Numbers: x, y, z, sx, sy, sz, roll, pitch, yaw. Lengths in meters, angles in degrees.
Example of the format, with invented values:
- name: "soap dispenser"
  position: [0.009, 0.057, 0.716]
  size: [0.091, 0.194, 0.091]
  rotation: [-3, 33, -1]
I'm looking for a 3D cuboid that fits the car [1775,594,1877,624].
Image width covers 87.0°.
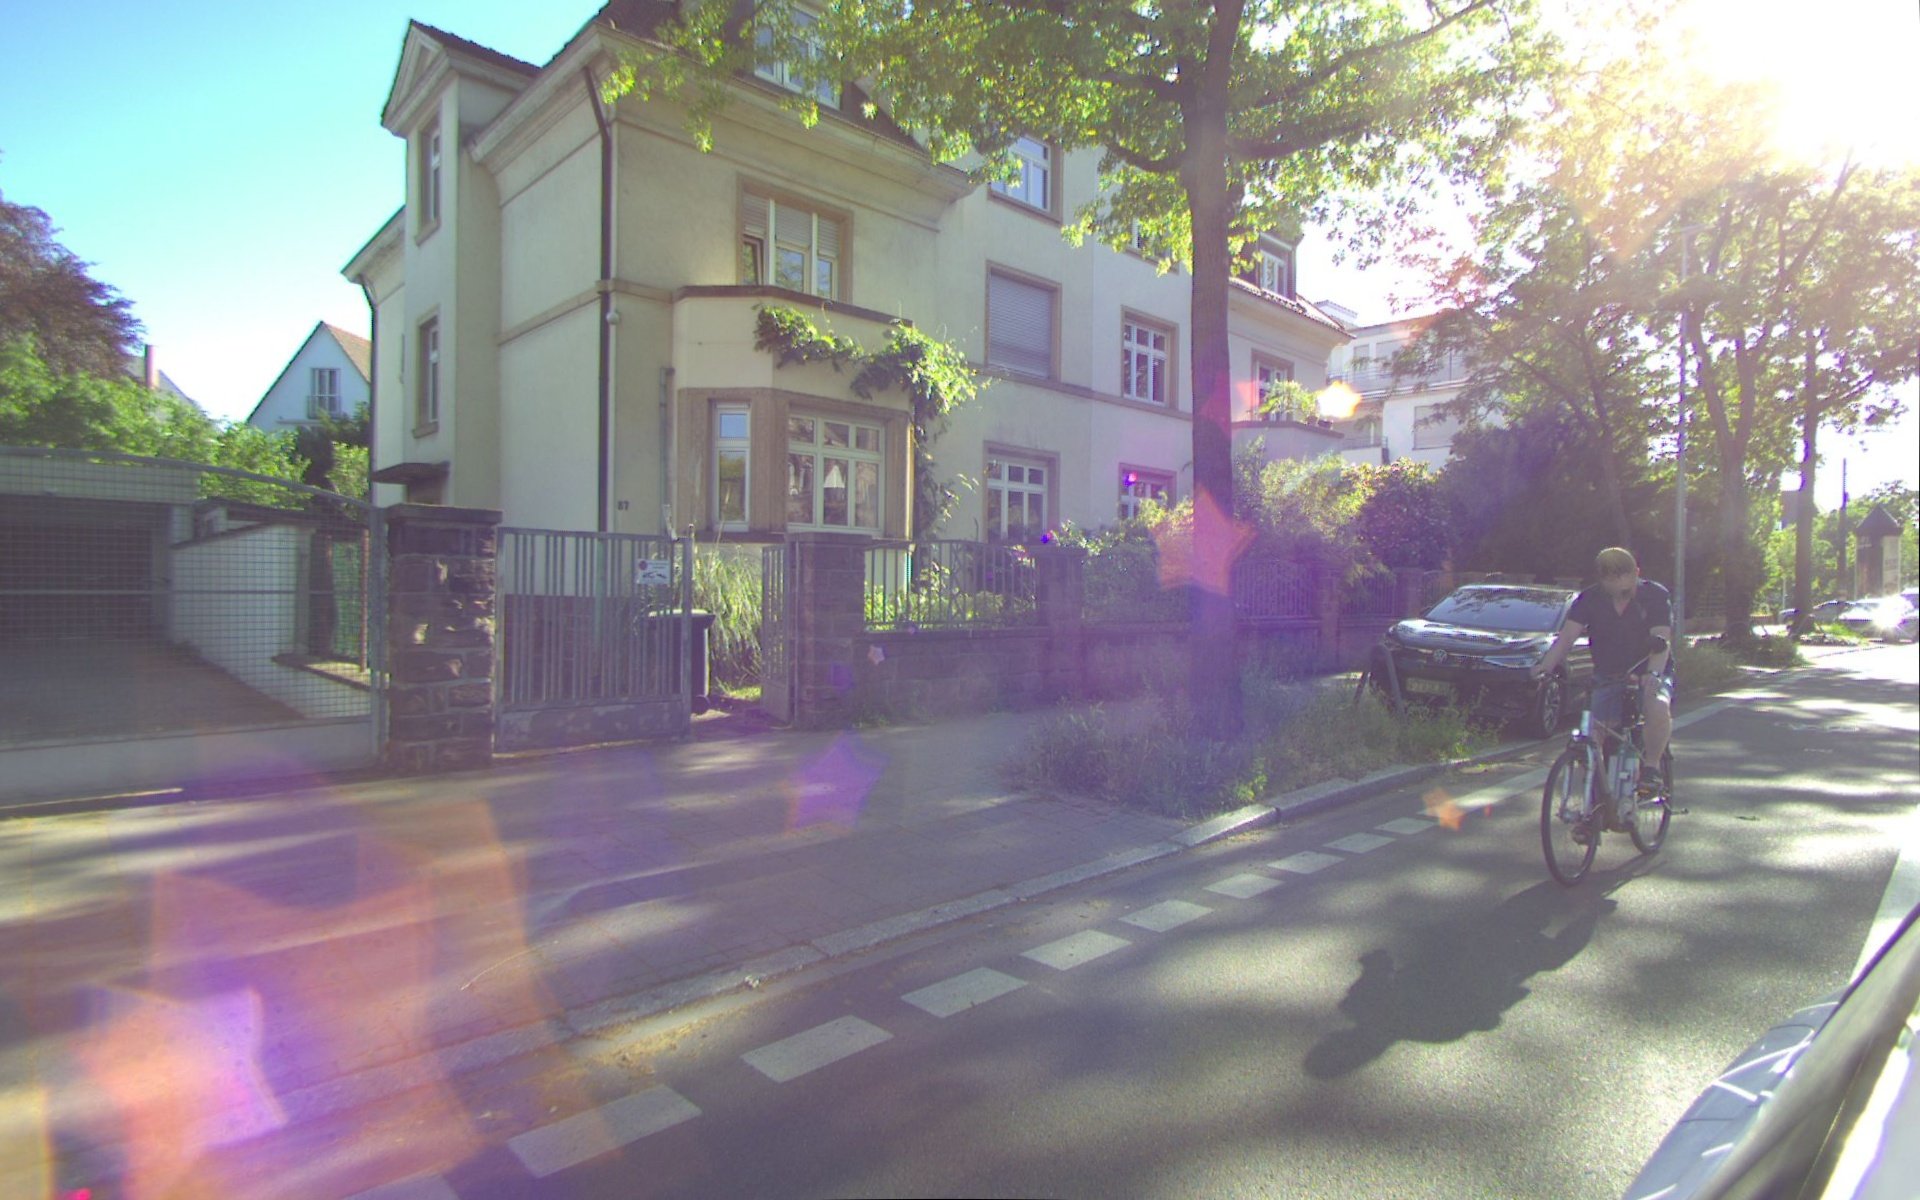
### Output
- name: "car"
  position: [46.056, 0.458, 53.844]
  size: [1.784, 1.459, 3.990]
  rotation: [0, 1, -44]

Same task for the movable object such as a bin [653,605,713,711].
- name: "movable object such as a bin"
  position: [-2.931, 0.587, 10.673]
  size: [0.551, 1.062, 0.676]
  rotation: [0, 0, -20]

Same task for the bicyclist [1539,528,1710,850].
- name: "bicyclist"
  position: [3.727, 0.454, 5.681]
  size: [0.654, 1.662, 0.643]
  rotation: [0, 0, -41]

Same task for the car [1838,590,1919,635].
- name: "car"
  position: [31.503, 0.384, 34.277]
  size: [4.181, 1.427, 1.901]
  rotation: [0, 1, -38]

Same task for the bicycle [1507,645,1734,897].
- name: "bicycle"
  position: [3.749, 0.857, 5.676]
  size: [1.823, 1.125, 0.588]
  rotation: [0, 0, -41]

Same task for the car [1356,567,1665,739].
- name: "car"
  position: [6.701, 0.499, 12.139]
  size: [4.186, 1.619, 1.917]
  rotation: [0, 4, -42]

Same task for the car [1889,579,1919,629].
- name: "car"
  position: [36.662, 0.131, 37.859]
  size: [4.580, 1.808, 1.903]
  rotation: [0, 1, -35]
